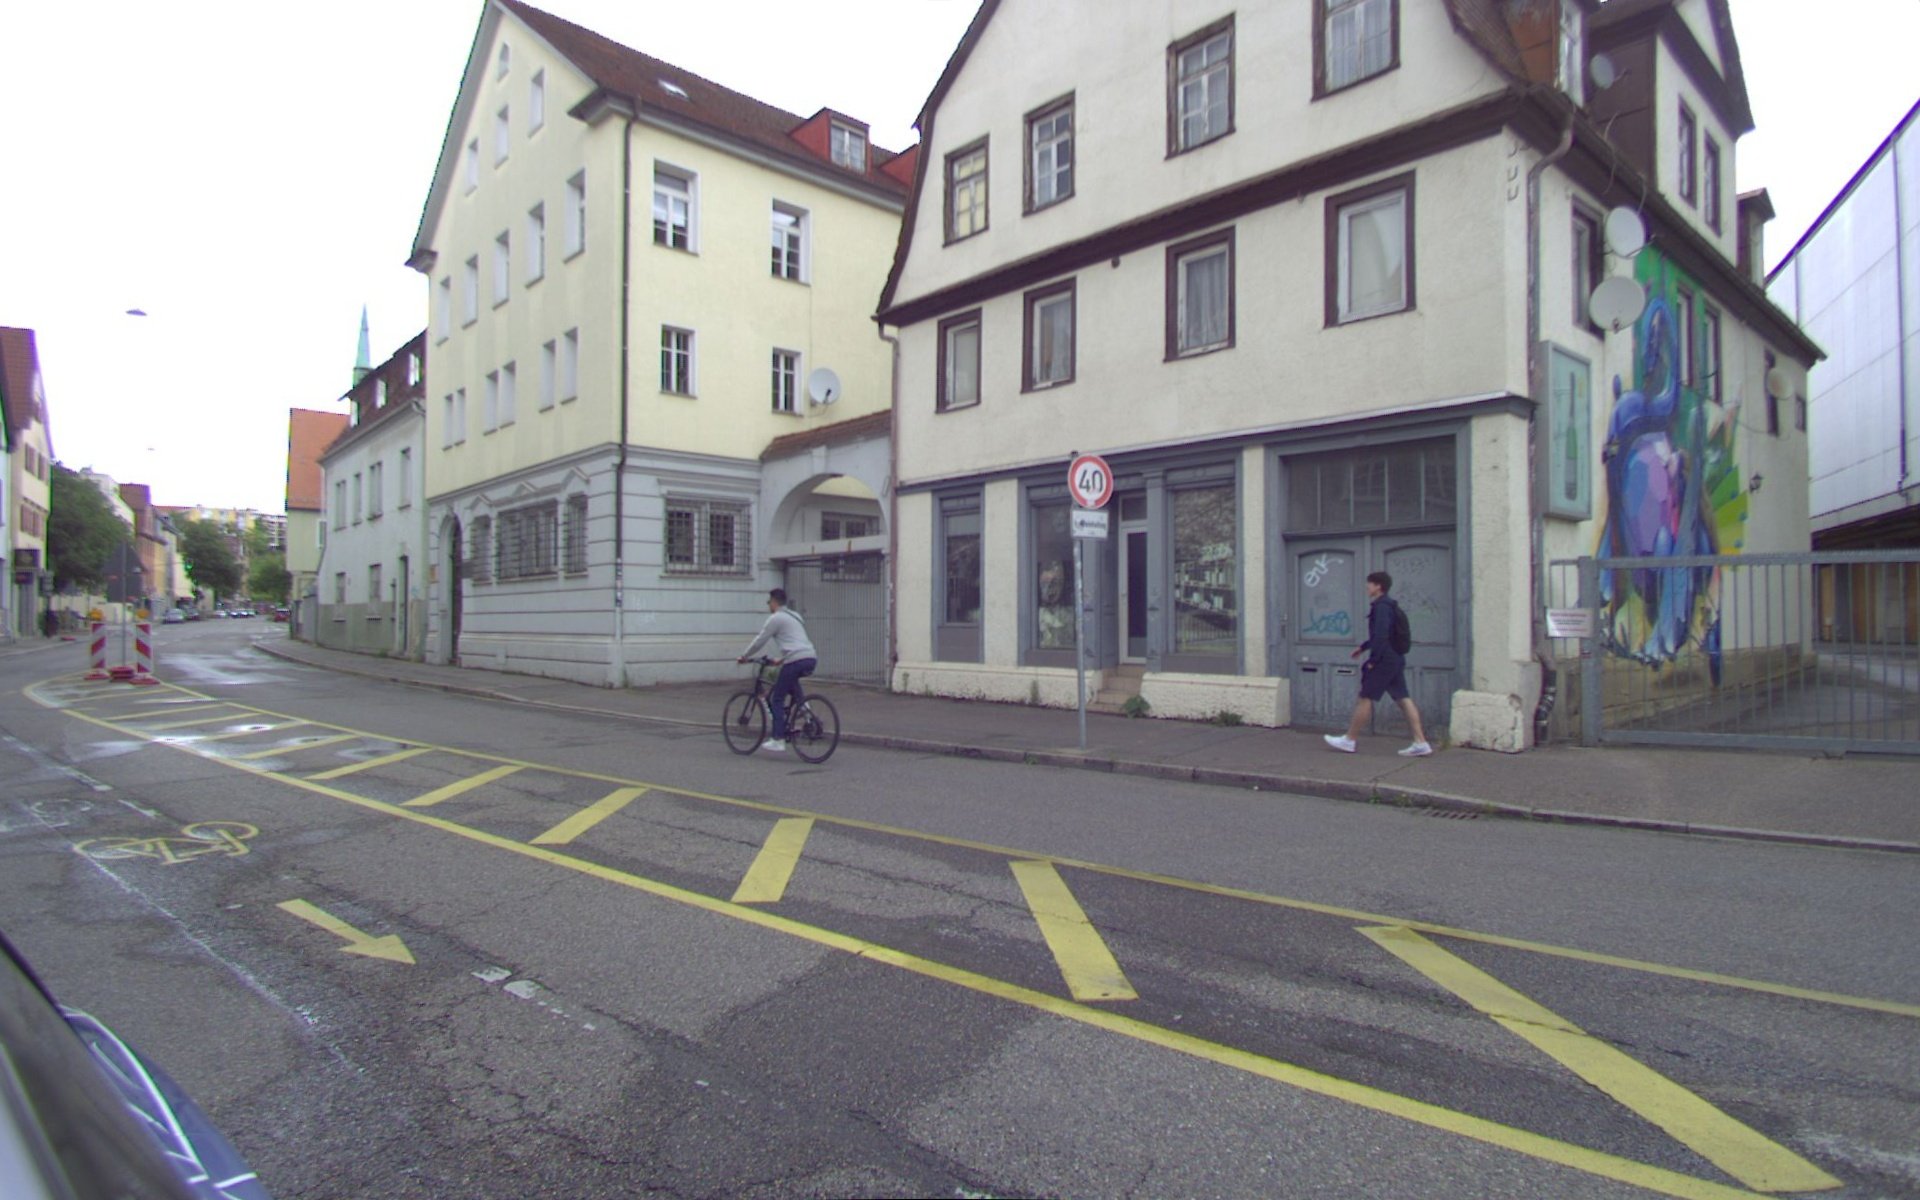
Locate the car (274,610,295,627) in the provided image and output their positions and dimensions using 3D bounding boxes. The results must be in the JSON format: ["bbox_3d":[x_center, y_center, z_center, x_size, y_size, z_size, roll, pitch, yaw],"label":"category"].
[{"bbox_3d":[-85.666,2.349,128.360,2.027,2.029,4.009,1,-2,-37],"label":"car"}]

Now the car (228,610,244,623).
[{"bbox_3d":[-115.781,2.631,161.906,1.967,2.029,4.009,1,-2,-37],"label":"car"}]

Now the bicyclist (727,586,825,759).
[{"bbox_3d":[-1.926,0.732,10.565,0.714,1.714,0.812,1,-2,-38],"label":"bicyclist"}]

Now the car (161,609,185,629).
[{"bbox_3d":[-84.794,2.077,109.045,1.967,2.029,4.009,1,-2,-37],"label":"car"}]

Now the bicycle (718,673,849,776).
[{"bbox_3d":[-1.874,1.252,10.532,0.534,0.899,1.884,1,-2,-37],"label":"bicycle"}]

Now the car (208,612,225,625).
[{"bbox_3d":[-114.771,2.884,156.224,1.967,2.029,4.009,1,-2,-37],"label":"car"}]

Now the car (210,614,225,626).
[{"bbox_3d":[-123.517,3.347,168.295,1.967,2.029,4.009,1,-2,-37],"label":"car"}]

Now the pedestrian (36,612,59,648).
[{"bbox_3d":[-48.564,1.606,53.891,0.865,1.914,0.898,1,-2,-41],"label":"pedestrian"}]

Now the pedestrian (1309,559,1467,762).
[{"bbox_3d":[4.335,0.583,10.256,1.092,1.900,1.042,-4,-2,44],"label":"pedestrian"}]

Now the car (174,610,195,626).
[{"bbox_3d":[-97.090,2.267,126.722,1.967,2.029,4.009,1,-2,-37],"label":"car"}]
